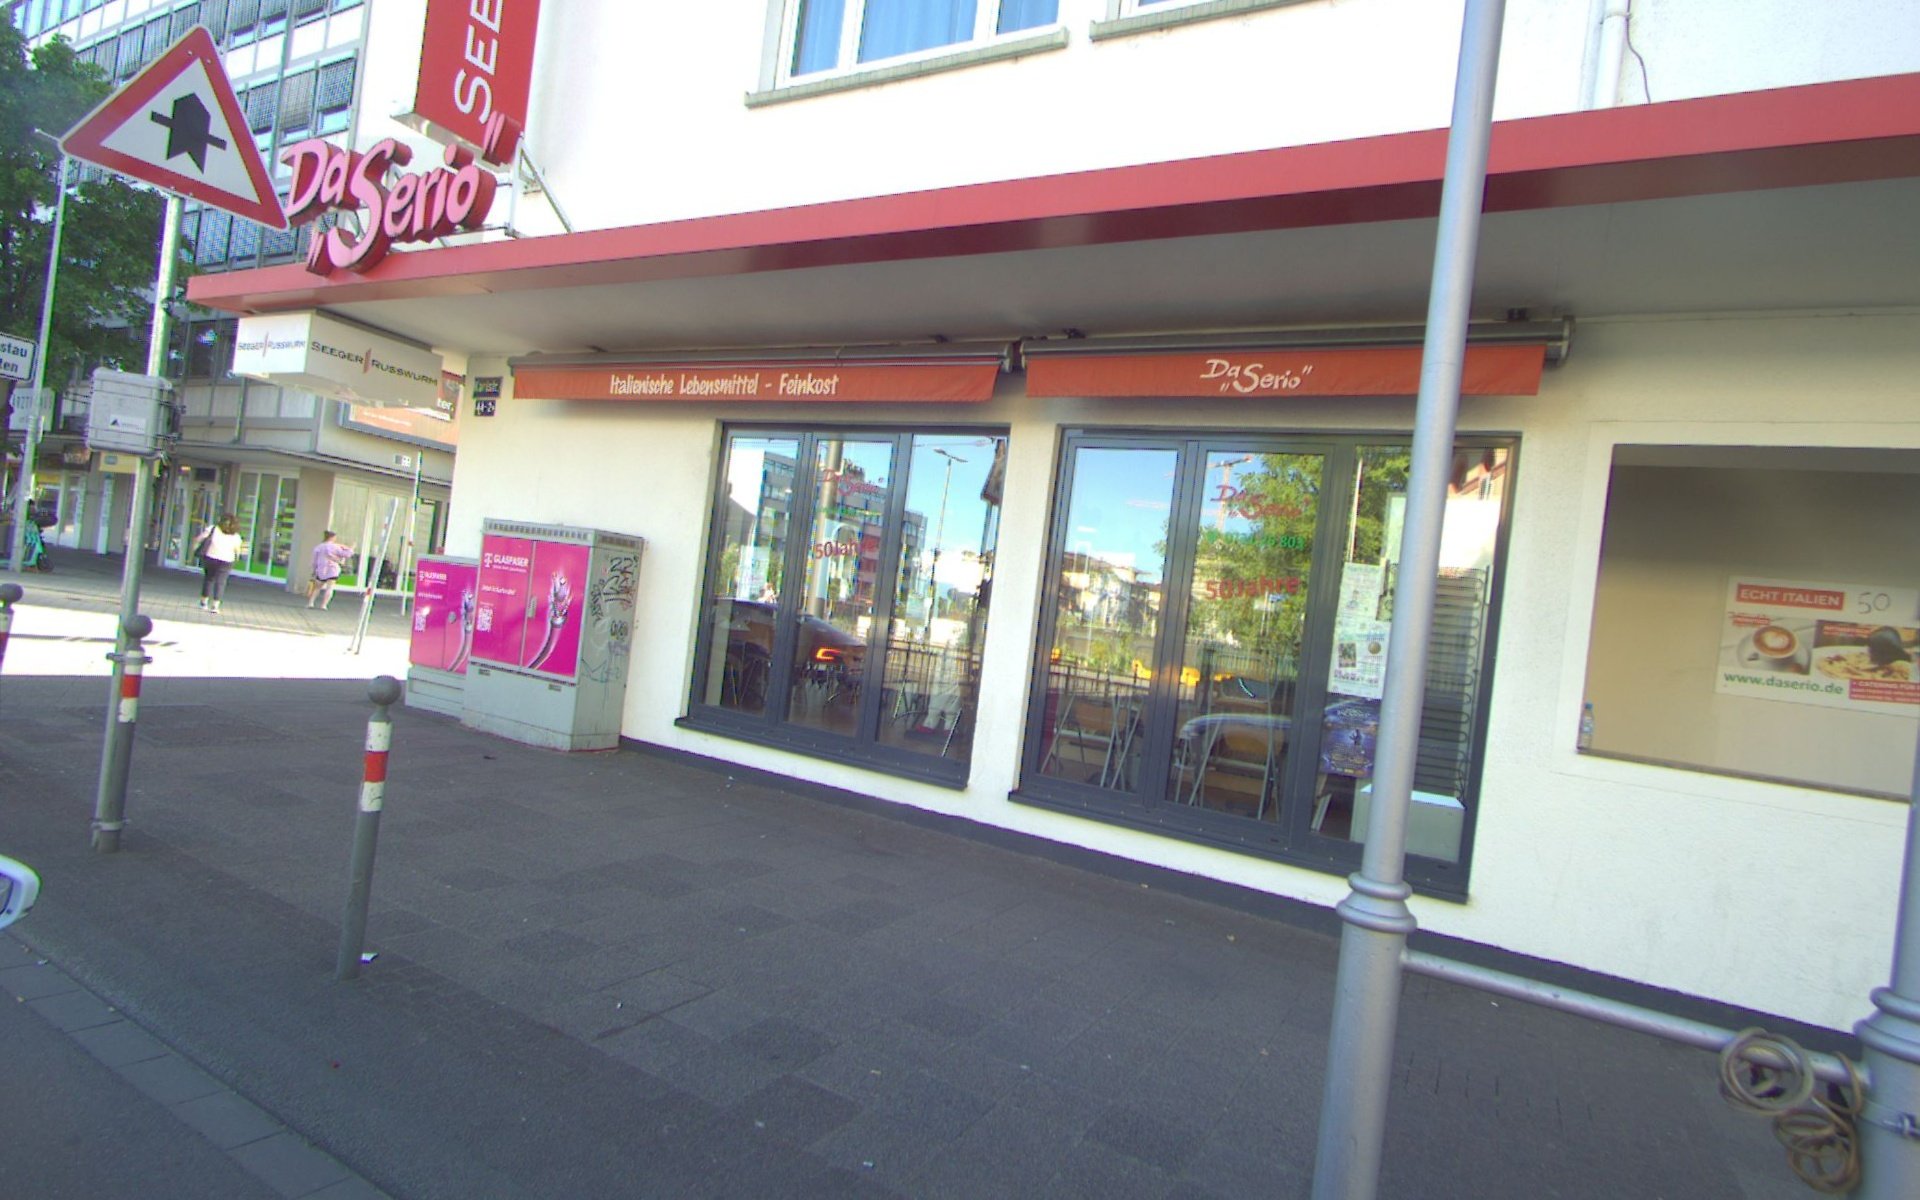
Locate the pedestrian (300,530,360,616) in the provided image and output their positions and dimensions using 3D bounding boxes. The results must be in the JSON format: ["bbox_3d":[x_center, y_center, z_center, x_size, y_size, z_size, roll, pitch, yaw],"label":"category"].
[{"bbox_3d":[-13.502,-0.573,21.549,0.884,1.687,0.801,8,-1,-35],"label":"pedestrian"}]

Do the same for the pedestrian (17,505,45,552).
[{"bbox_3d":[-28.296,-2.180,30.652,0.504,1.359,0.390,6,-1,34],"label":"pedestrian"}]

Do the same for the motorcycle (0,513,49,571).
[{"bbox_3d":[-21.570,-1.369,22.407,0.532,1.186,1.711,7,-2,30],"label":"motorcycle"}]

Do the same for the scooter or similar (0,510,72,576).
[{"bbox_3d":[-19.936,-1.232,21.178,1.628,1.229,0.640,8,-1,-29],"label":"scooter or similar"}]

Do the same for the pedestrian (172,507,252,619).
[{"bbox_3d":[-12.998,-0.636,17.522,0.909,1.772,1.029,8,-1,-35],"label":"pedestrian"}]
